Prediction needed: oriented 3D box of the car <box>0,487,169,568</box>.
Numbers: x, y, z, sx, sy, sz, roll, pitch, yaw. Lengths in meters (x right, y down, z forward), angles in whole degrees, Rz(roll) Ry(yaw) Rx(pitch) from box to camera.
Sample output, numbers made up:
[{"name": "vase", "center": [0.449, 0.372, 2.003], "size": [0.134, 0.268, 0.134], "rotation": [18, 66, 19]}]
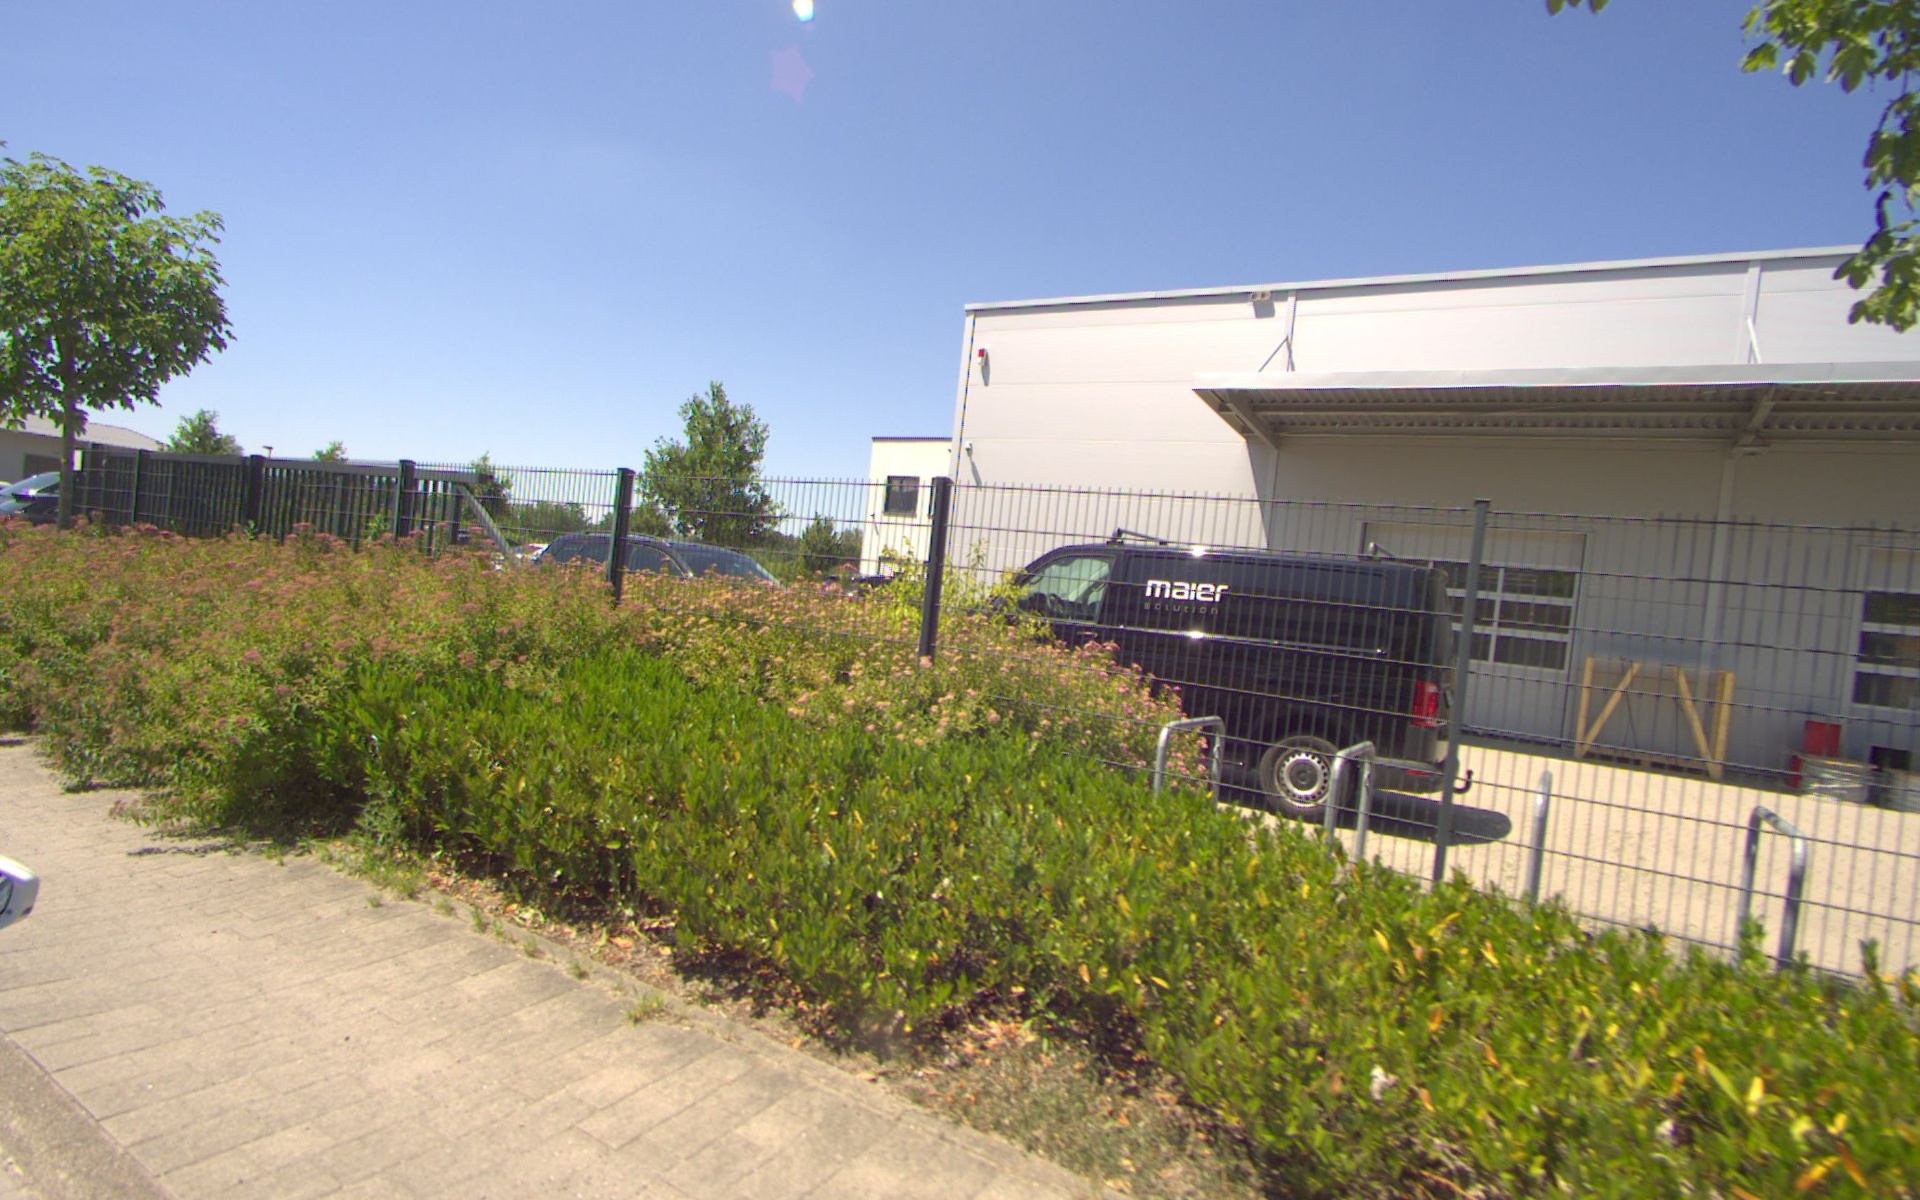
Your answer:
[{"name": "car", "center": [-20.066, -1.628, 21.742], "size": [1.576, 1.468, 4.347], "rotation": [6, 1, 31]}]

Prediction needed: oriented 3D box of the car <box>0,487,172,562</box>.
[{"name": "car", "center": [-21.796, -1.843, 24.042], "size": [1.725, 1.463, 4.282], "rotation": [6, 1, 31]}]

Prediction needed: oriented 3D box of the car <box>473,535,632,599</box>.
[{"name": "car", "center": [-11.670, -0.917, 29.031], "size": [1.738, 1.421, 3.873], "rotation": [6, 1, 34]}]

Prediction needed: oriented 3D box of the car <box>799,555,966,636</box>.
[{"name": "car", "center": [-1.698, -0.062, 23.432], "size": [1.820, 1.505, 3.990], "rotation": [6, 0, 31]}]

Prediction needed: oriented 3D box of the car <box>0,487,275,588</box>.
[{"name": "car", "center": [-15.573, -1.128, 18.767], "size": [1.735, 1.440, 4.218], "rotation": [6, 1, 30]}]

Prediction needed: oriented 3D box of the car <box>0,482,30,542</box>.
[{"name": "car", "center": [-26.807, -2.501, 25.762], "size": [1.792, 1.541, 3.990], "rotation": [6, 1, 31]}]

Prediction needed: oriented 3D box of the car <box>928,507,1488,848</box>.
[{"name": "car", "center": [2.053, 0.465, 8.696], "size": [4.155, 2.114, 1.877], "rotation": [7, 2, 32]}]

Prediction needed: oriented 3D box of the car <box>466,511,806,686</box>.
[{"name": "car", "center": [-3.810, -0.066, 11.634], "size": [3.815, 1.576, 1.544], "rotation": [6, 1, 32]}]

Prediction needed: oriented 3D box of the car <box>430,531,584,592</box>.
[{"name": "car", "center": [-13.710, -1.133, 30.625], "size": [1.738, 1.421, 3.873], "rotation": [6, 1, 34]}]

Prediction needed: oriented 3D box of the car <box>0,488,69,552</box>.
[{"name": "car", "center": [-24.351, -2.114, 24.441], "size": [1.617, 1.440, 3.668], "rotation": [6, 1, 31]}]

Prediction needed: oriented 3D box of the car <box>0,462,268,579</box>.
[{"name": "car", "center": [-17.391, -1.577, 20.440], "size": [1.871, 1.898, 5.116], "rotation": [6, 1, 31]}]
